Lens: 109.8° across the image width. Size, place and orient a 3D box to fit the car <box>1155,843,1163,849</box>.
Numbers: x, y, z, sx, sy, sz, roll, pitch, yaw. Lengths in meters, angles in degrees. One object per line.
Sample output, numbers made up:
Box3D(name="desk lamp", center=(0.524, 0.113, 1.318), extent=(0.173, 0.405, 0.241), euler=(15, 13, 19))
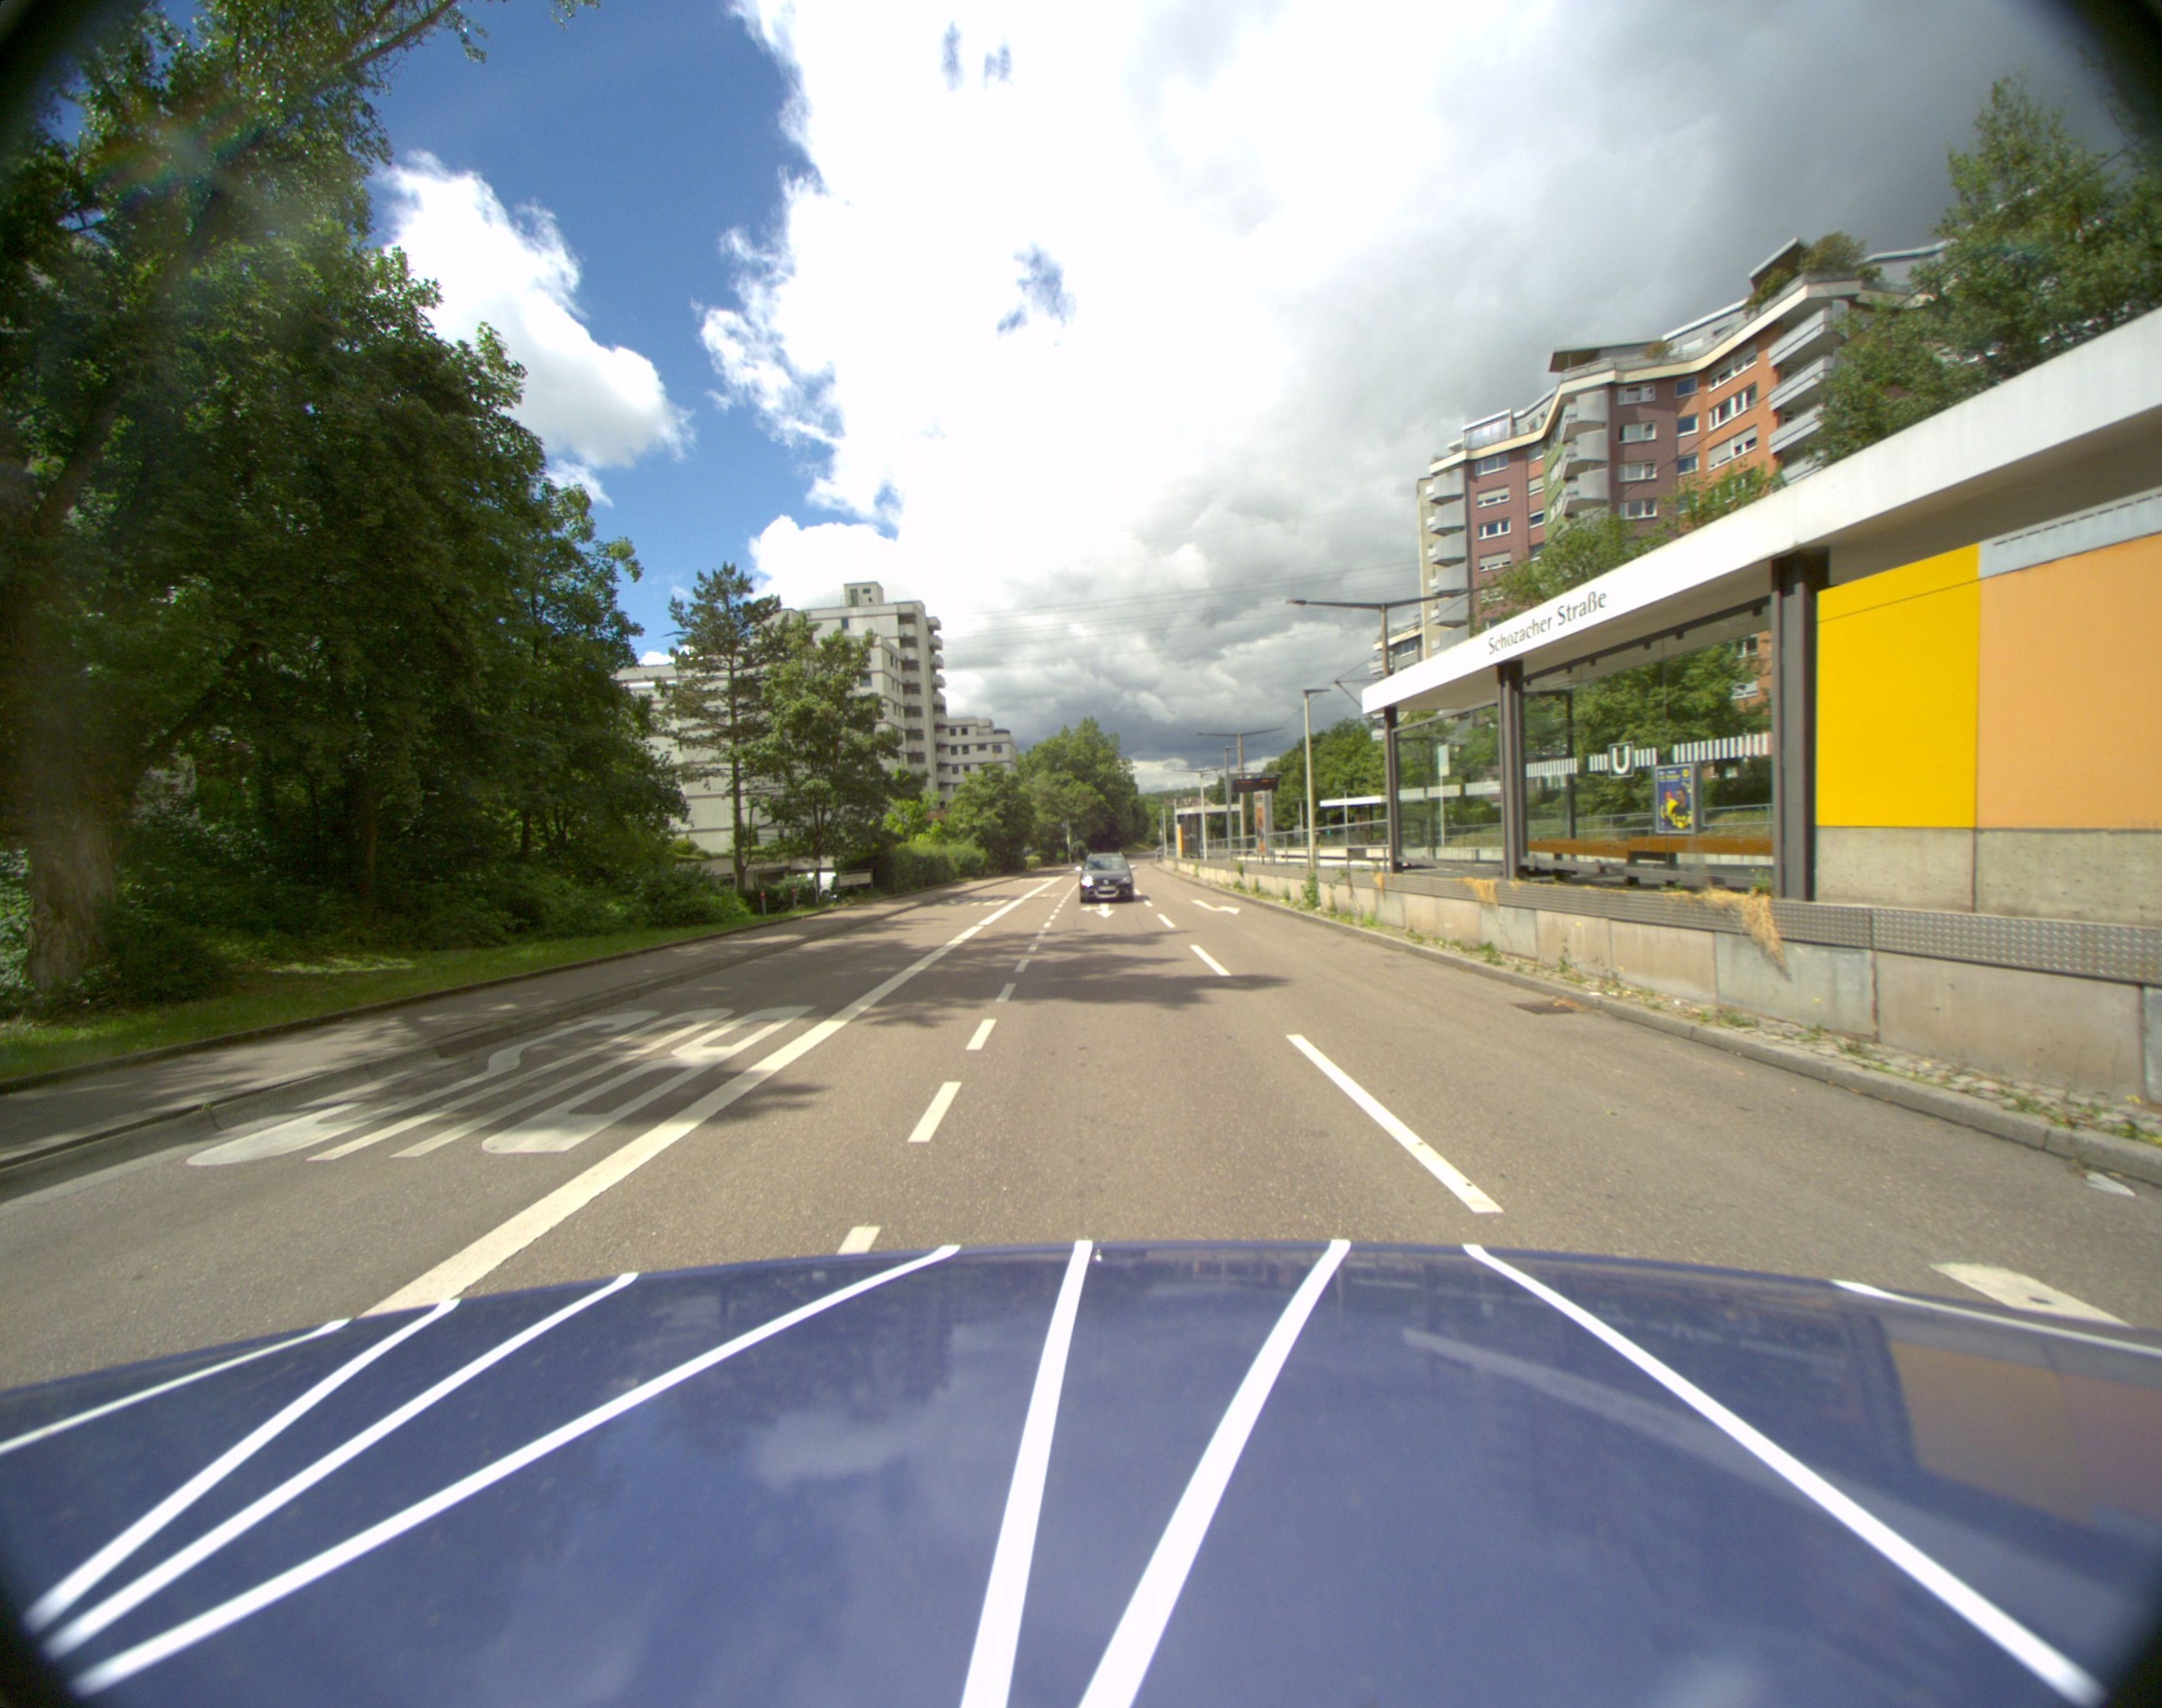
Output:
Box3D(name="car", center=(20.307, -2.042, 197.711), extent=(1.821, 1.377, 4.065), euler=(-2, 1, 2))

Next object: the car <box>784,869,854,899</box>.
Box3D(name="car", center=(-19.896, 2.244, 57.803), extent=(4.543, 2.002, 2.001), euler=(-2, 1, 7))

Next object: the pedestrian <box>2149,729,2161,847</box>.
Box3D(name="pedestrian", center=(15.841, -0.958, 10.982), extent=(0.354, 1.703, 0.426), euler=(-3, 2, -41))

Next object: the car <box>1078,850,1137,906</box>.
Box3D(name="car", center=(0.863, 0.699, 24.134), extent=(1.641, 1.521, 4.000), euler=(-2, 1, 3))

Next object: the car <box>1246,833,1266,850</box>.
Box3D(name="car", center=(22.146, -1.578, 96.151), extent=(1.737, 2.002, 4.000), euler=(-2, 1, 2))
